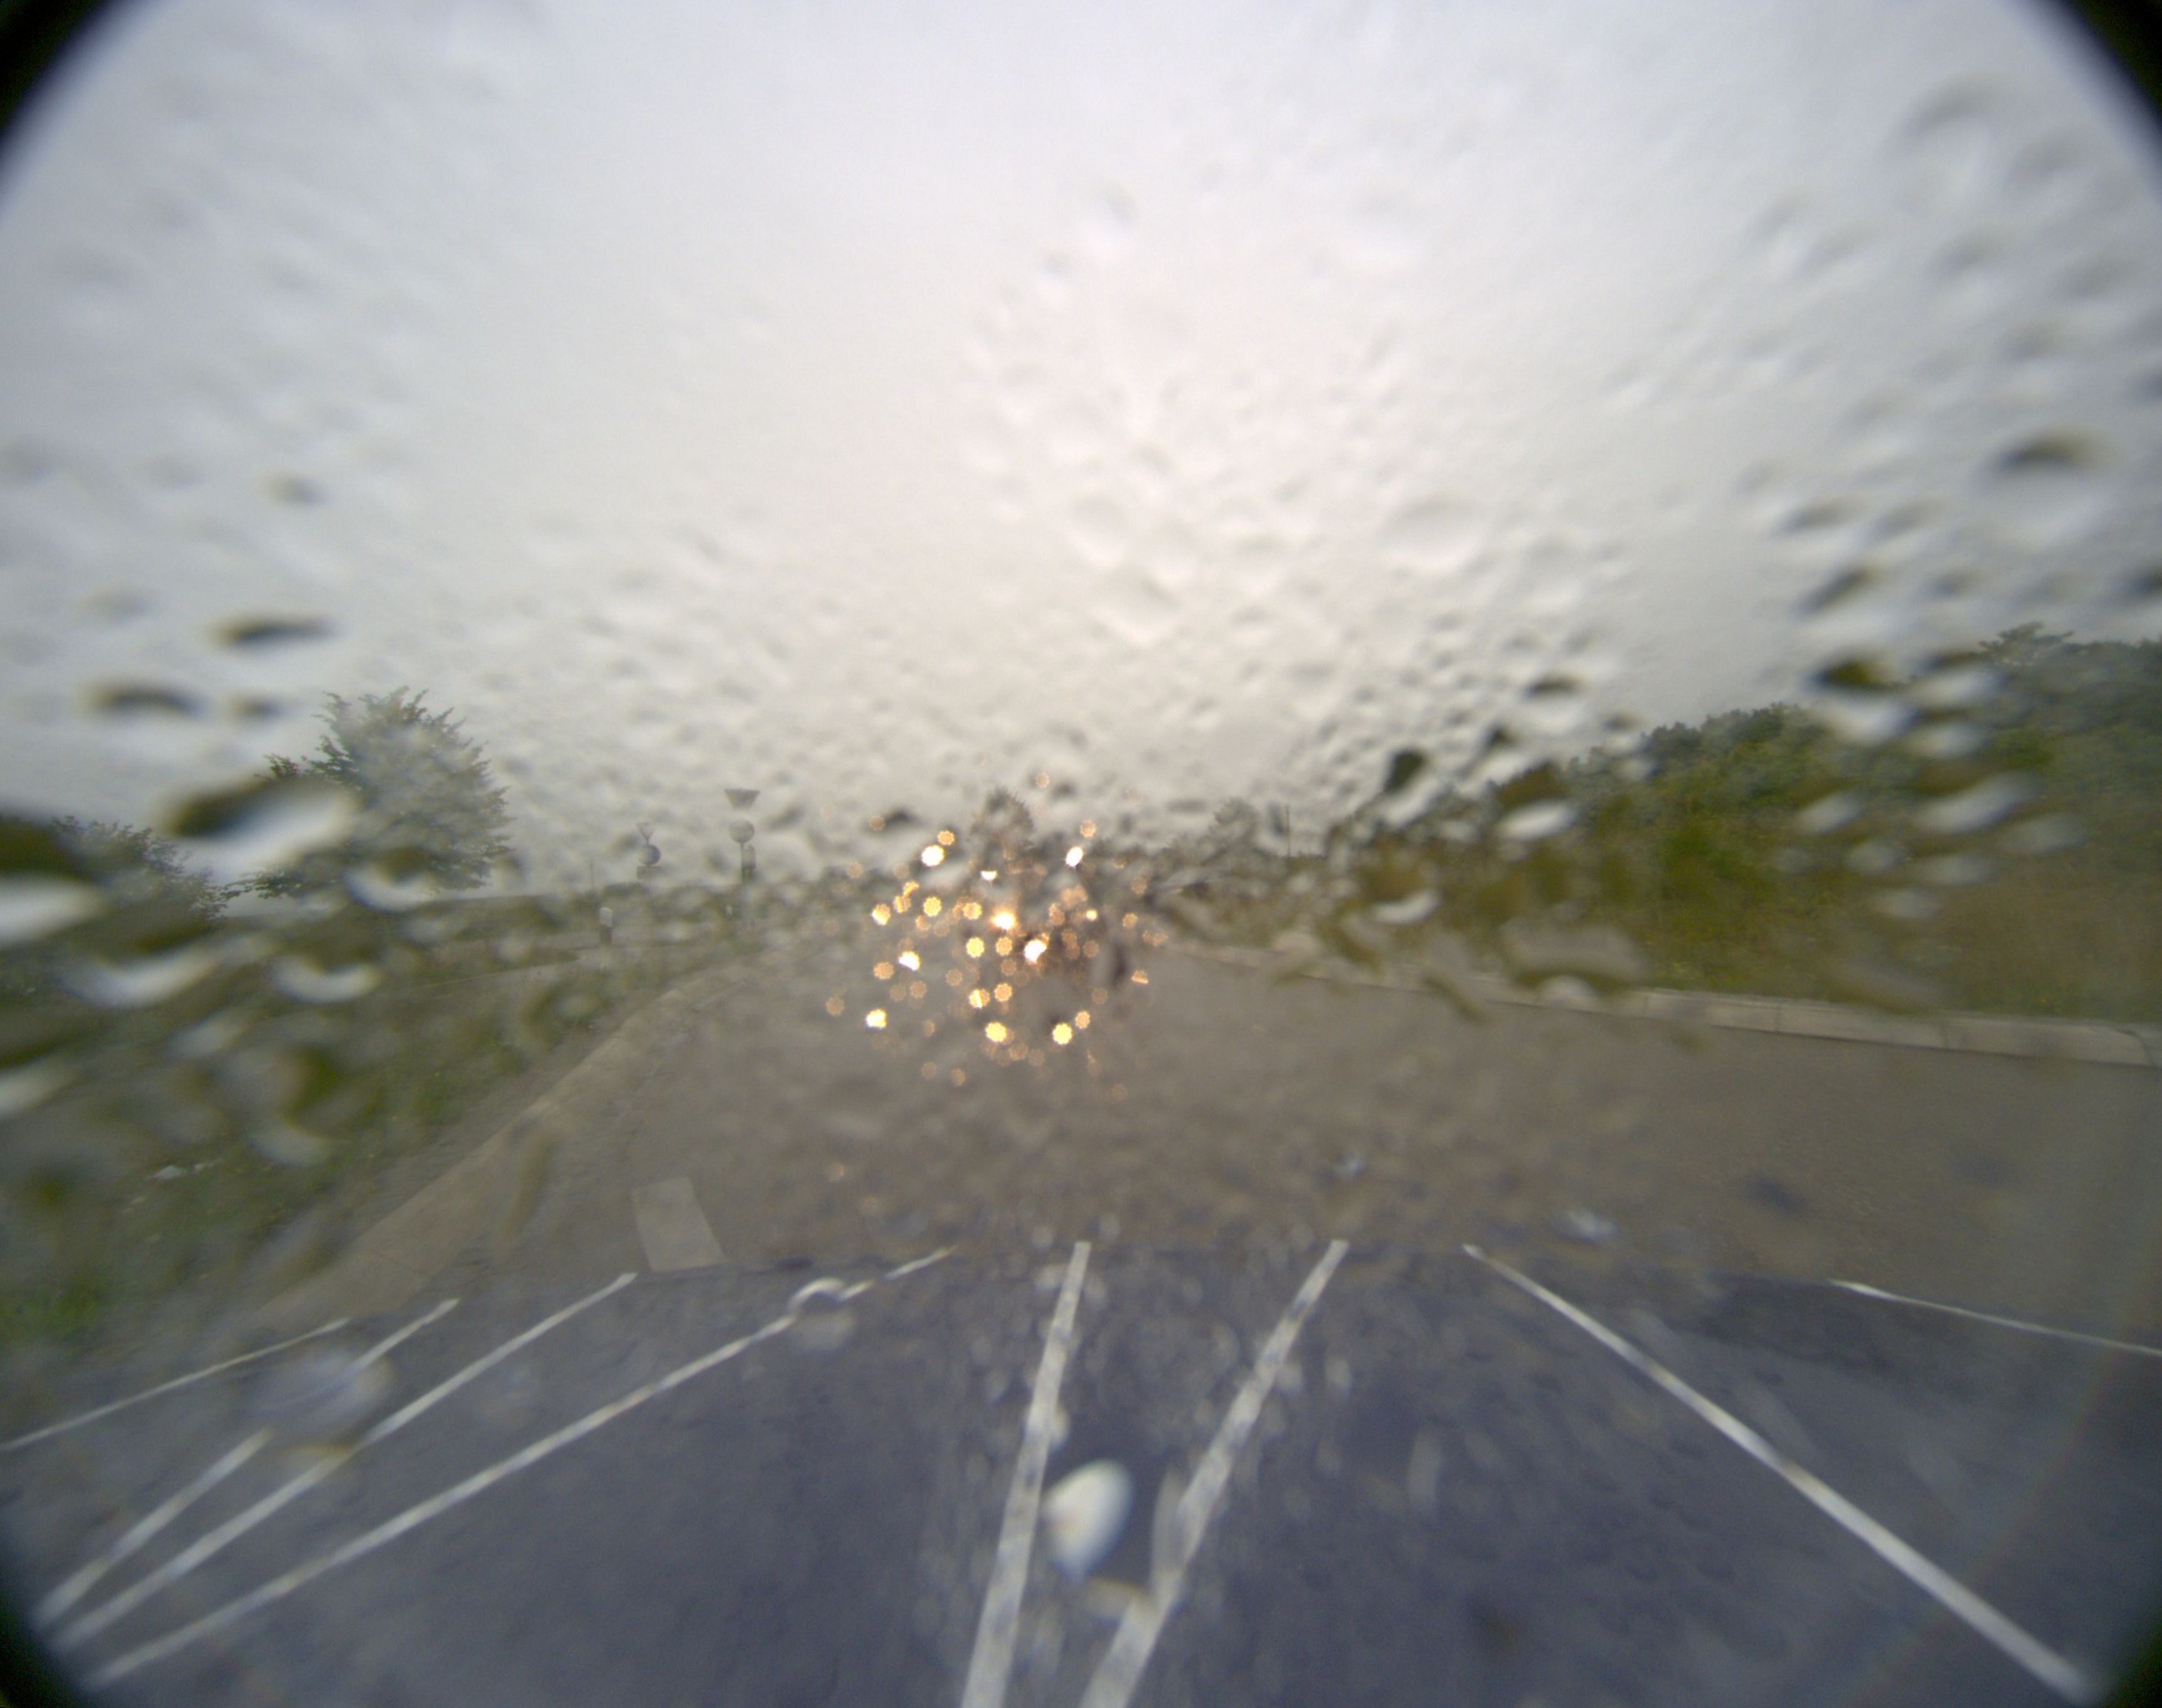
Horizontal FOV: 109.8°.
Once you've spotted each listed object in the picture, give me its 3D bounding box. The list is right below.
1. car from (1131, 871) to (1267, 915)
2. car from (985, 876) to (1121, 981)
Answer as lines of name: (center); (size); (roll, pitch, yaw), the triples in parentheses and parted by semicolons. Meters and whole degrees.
car: (4.096, 1.291, 26.093); (4.512, 1.363, 1.945); (1, -2, -34)
car: (-0.575, 1.110, 12.943); (1.874, 1.412, 4.503); (-2, -2, -5)
